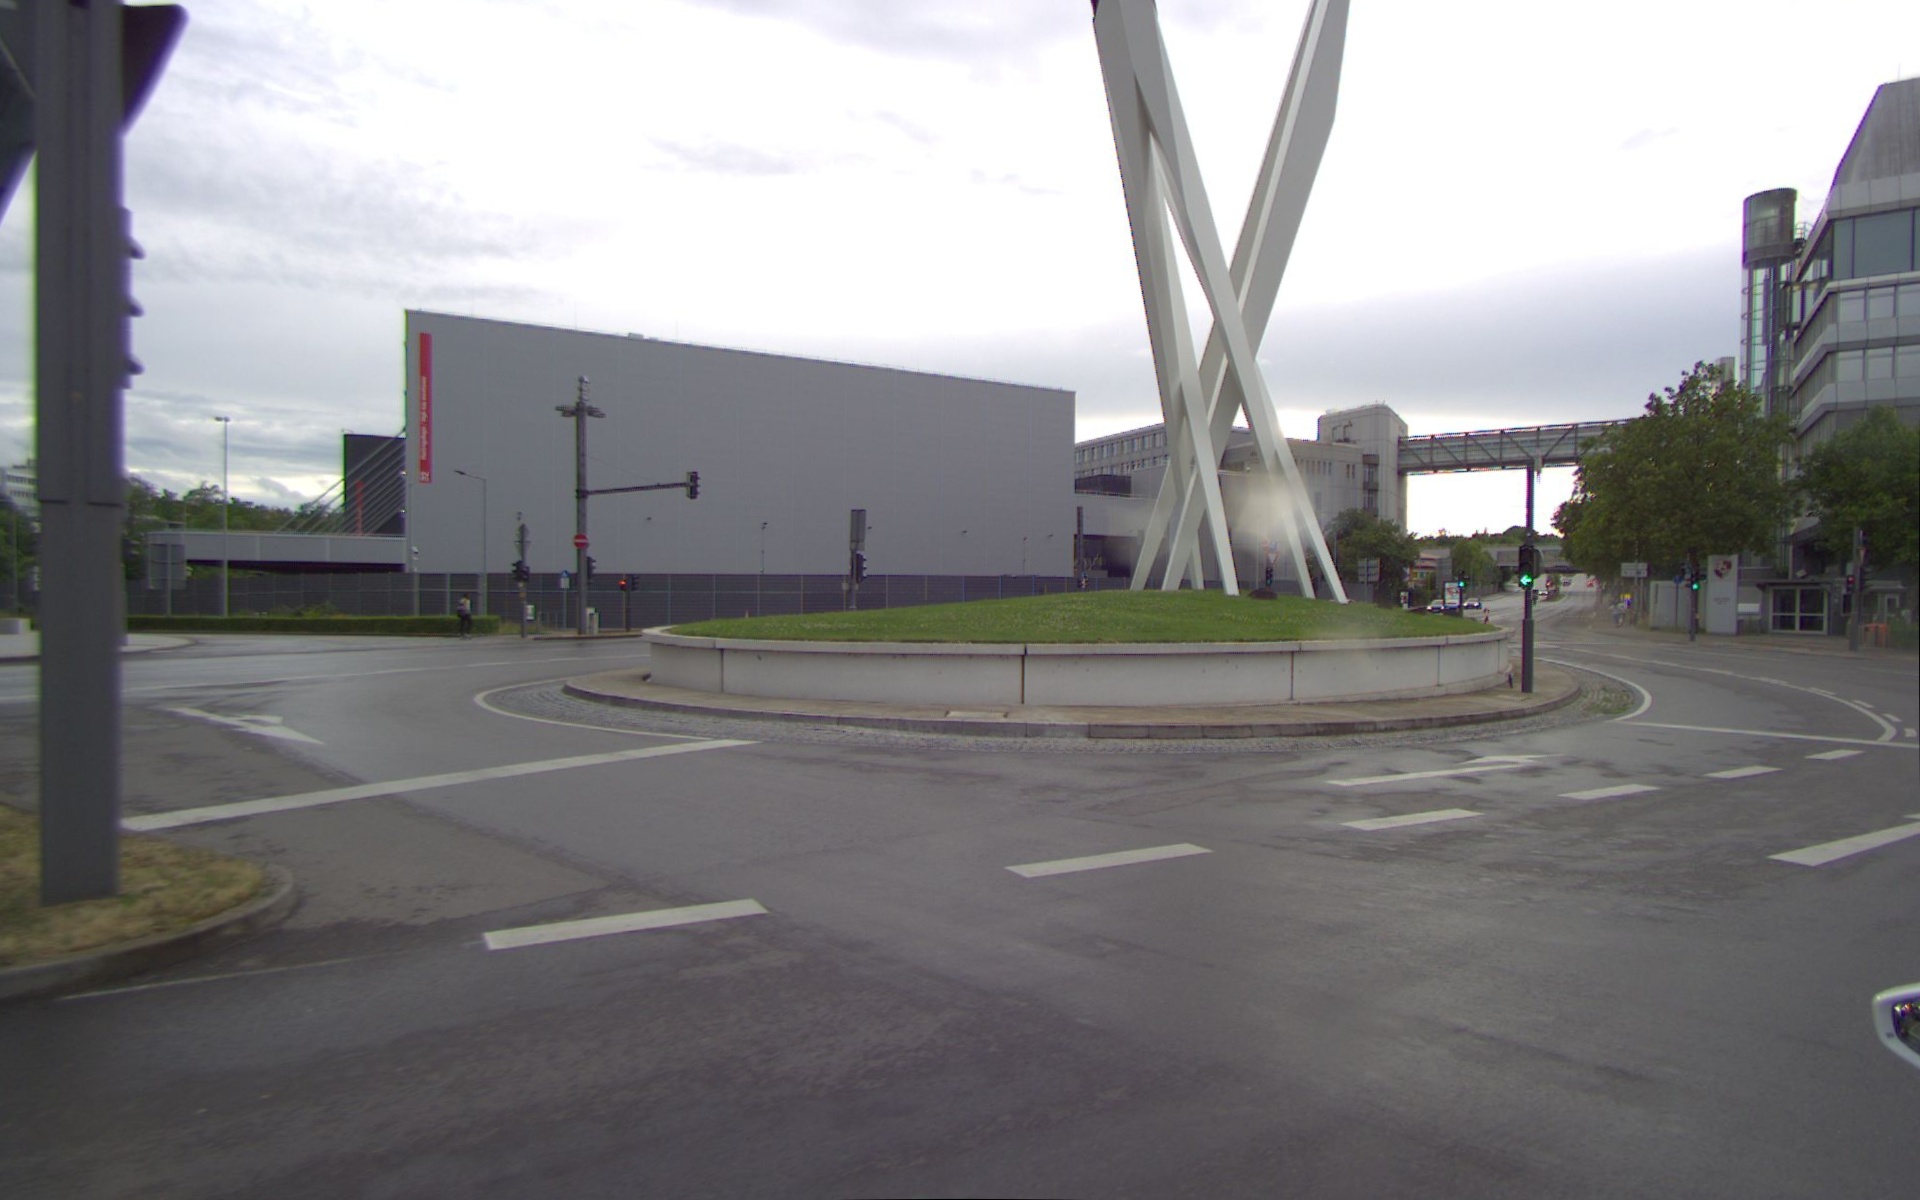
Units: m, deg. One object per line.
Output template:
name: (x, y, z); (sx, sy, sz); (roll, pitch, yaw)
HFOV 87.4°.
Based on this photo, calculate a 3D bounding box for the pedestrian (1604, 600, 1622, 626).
pedestrian: (39.260, 0.768, 60.369); (0.821, 1.541, 0.838); (1, 1, 39)

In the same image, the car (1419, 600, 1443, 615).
car: (48.102, 0.769, 102.536); (1.758, 1.459, 4.384); (1, 1, 32)

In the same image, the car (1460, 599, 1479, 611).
car: (67.668, 0.662, 133.327); (1.758, 1.403, 4.534); (-2, -1, 33)

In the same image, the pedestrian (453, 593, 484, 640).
pedestrian: (-19.616, 0.647, 40.099); (0.636, 1.827, 0.854); (1, 0, 21)

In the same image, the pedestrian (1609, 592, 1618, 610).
pedestrian: (67.022, 0.129, 102.998); (0.701, 1.763, 0.758); (3, 0, 33)

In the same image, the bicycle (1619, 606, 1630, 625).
bicycle: (42.394, 0.989, 64.117); (0.336, 1.133, 1.970); (1, 1, 27)

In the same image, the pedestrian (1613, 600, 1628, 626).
pedestrian: (40.642, 0.784, 61.776); (0.700, 1.613, 0.837); (1, 1, 37)

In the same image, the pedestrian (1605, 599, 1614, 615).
pedestrian: (85.277, 0.922, 131.905); (0.687, 2.040, 0.758); (1, 0, -40)
